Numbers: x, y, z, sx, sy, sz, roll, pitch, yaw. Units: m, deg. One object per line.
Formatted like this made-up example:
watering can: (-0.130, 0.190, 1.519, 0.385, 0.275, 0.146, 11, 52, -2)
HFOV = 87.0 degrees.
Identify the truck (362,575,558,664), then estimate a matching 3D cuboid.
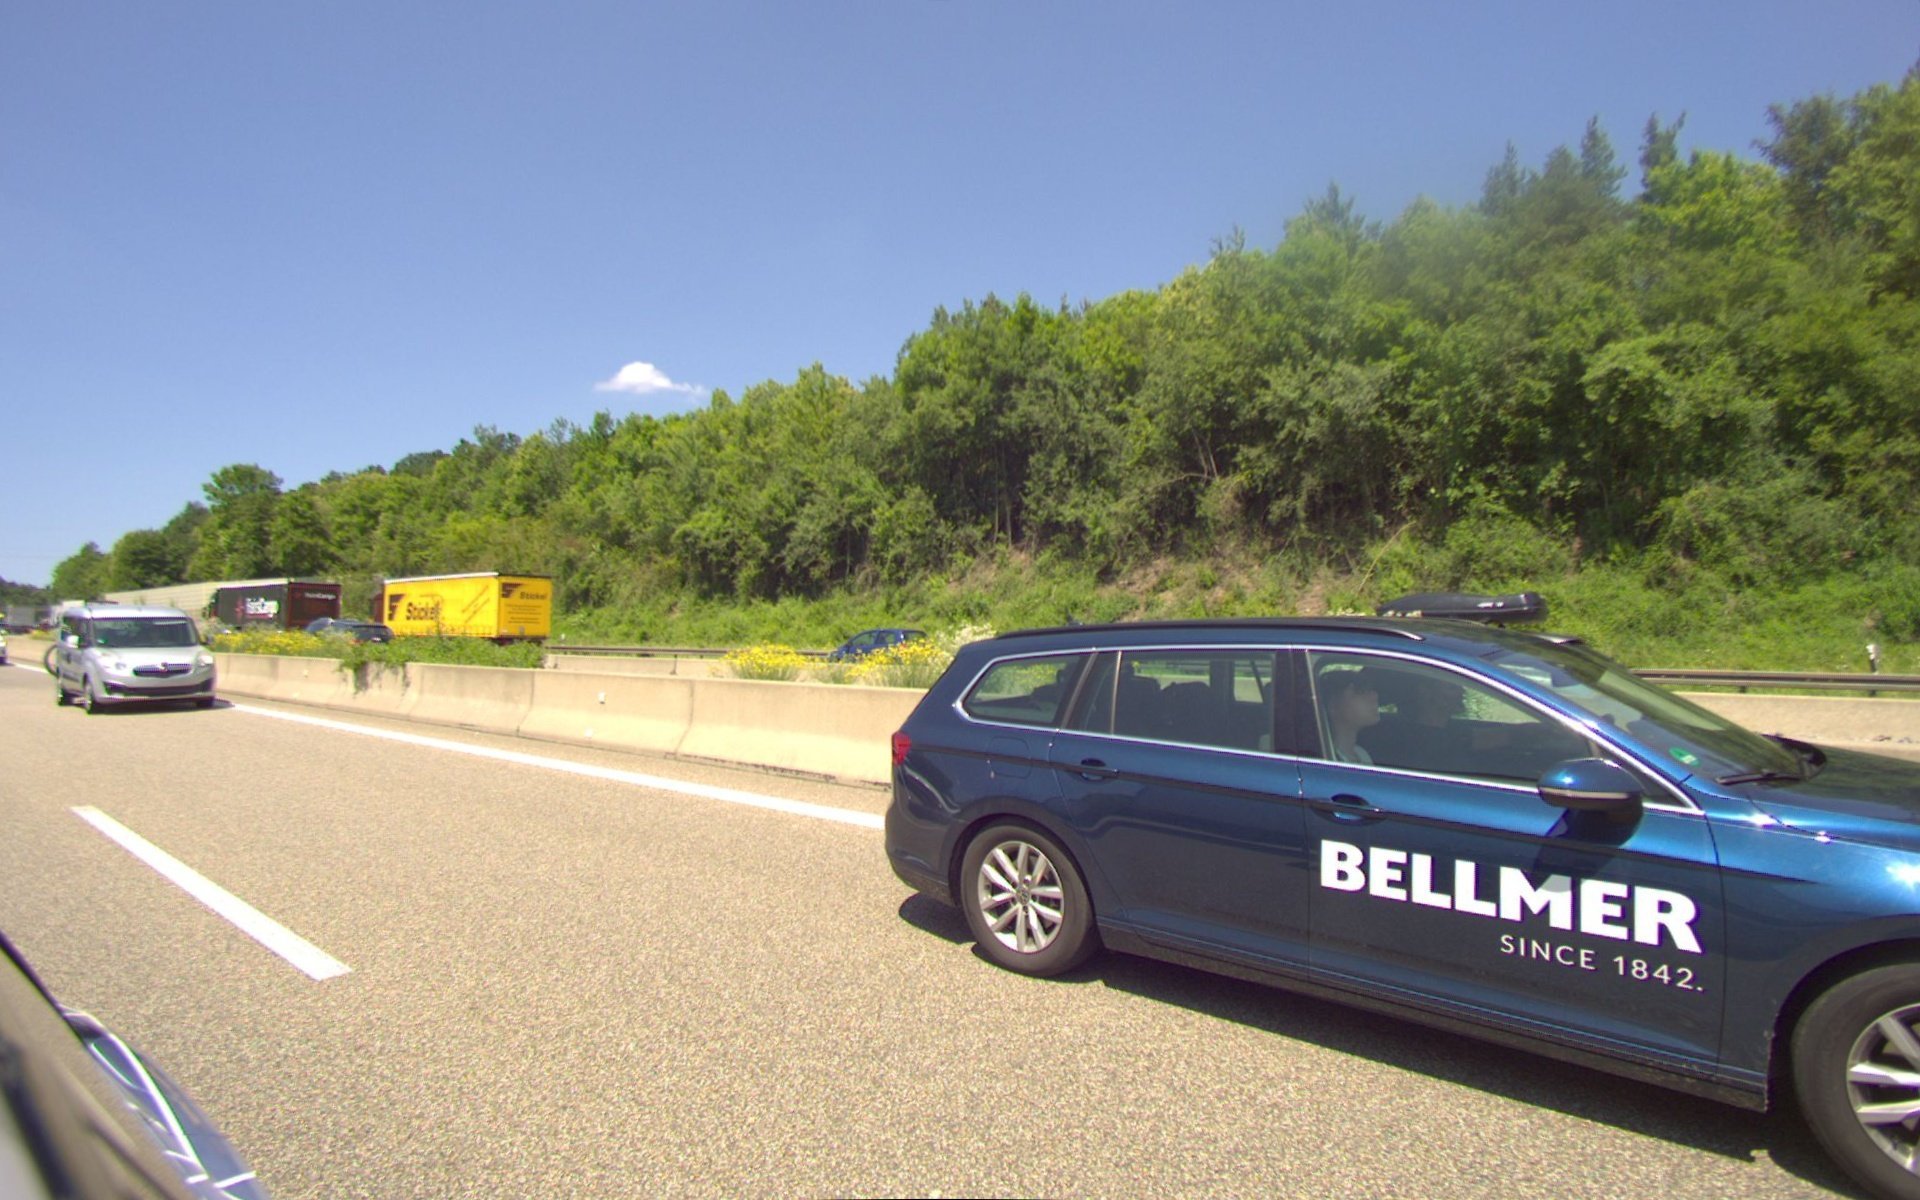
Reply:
truck: (-26.117, 0.970, 52.064, 16.258, 4.013, 3.005, 0, -2, 41)

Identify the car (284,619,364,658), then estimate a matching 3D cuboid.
car: (-27.246, 1.636, 43.304, 4.420, 1.570, 1.667, 0, -3, 41)

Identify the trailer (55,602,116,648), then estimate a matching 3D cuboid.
trailer: (-88.819, 2.489, 102.645, 14.033, 4.371, 2.773, 0, -3, 42)

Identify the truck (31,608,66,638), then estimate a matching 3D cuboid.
truck: (-126.022, 3.203, 139.891, 5.081, 4.078, 2.778, 0, -3, 41)

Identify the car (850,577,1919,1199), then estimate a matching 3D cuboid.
car: (1.835, 0.724, 3.721, 4.728, 1.438, 1.714, -1, -3, 42)

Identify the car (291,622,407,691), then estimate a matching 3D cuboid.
car: (-19.535, 1.764, 32.306, 3.998, 2.029, 1.972, 0, -3, 41)

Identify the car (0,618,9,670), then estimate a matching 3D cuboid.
car: (-36.081, 1.568, 36.773, 4.001, 1.852, 1.971, -1, -4, 44)

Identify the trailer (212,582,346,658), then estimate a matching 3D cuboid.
trailer: (-40.195, 1.146, 59.361, 13.881, 4.004, 2.876, 0, -3, 41)

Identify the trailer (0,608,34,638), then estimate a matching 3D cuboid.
trailer: (-140.910, 3.399, 150.780, 14.735, 4.197, 2.804, -1, -3, 42)

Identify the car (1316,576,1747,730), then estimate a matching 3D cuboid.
car: (7.046, 0.613, 12.800, 4.512, 1.619, 1.669, 0, -3, 41)

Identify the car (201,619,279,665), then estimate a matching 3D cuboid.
car: (-27.815, 1.602, 39.054, 3.542, 1.639, 1.625, 0, -3, 41)

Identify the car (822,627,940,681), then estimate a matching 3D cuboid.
car: (-2.443, 1.591, 30.685, 3.705, 1.519, 1.395, -2, -2, 41)

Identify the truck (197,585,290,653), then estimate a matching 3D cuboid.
truck: (-45.257, 1.198, 63.835, 7.765, 4.004, 2.876, 0, -3, 41)

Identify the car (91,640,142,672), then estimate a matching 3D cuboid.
car: (-57.332, 3.766, 68.761, 3.998, 2.029, 1.973, 0, -3, 41)

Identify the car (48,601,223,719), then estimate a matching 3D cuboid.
car: (-14.739, 1.007, 18.020, 3.998, 1.858, 1.757, -1, -2, 41)

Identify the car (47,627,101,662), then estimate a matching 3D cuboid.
car: (-55.600, 2.778, 63.508, 4.466, 2.029, 1.860, 0, -4, 41)

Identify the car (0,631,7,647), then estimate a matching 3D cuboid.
car: (-89.703, 3.602, 93.779, 3.998, 1.530, 1.547, -2, -3, 41)

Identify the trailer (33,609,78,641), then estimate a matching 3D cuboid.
trailer: (-121.424, 3.251, 135.816, 12.620, 4.078, 2.778, 0, -3, 41)
